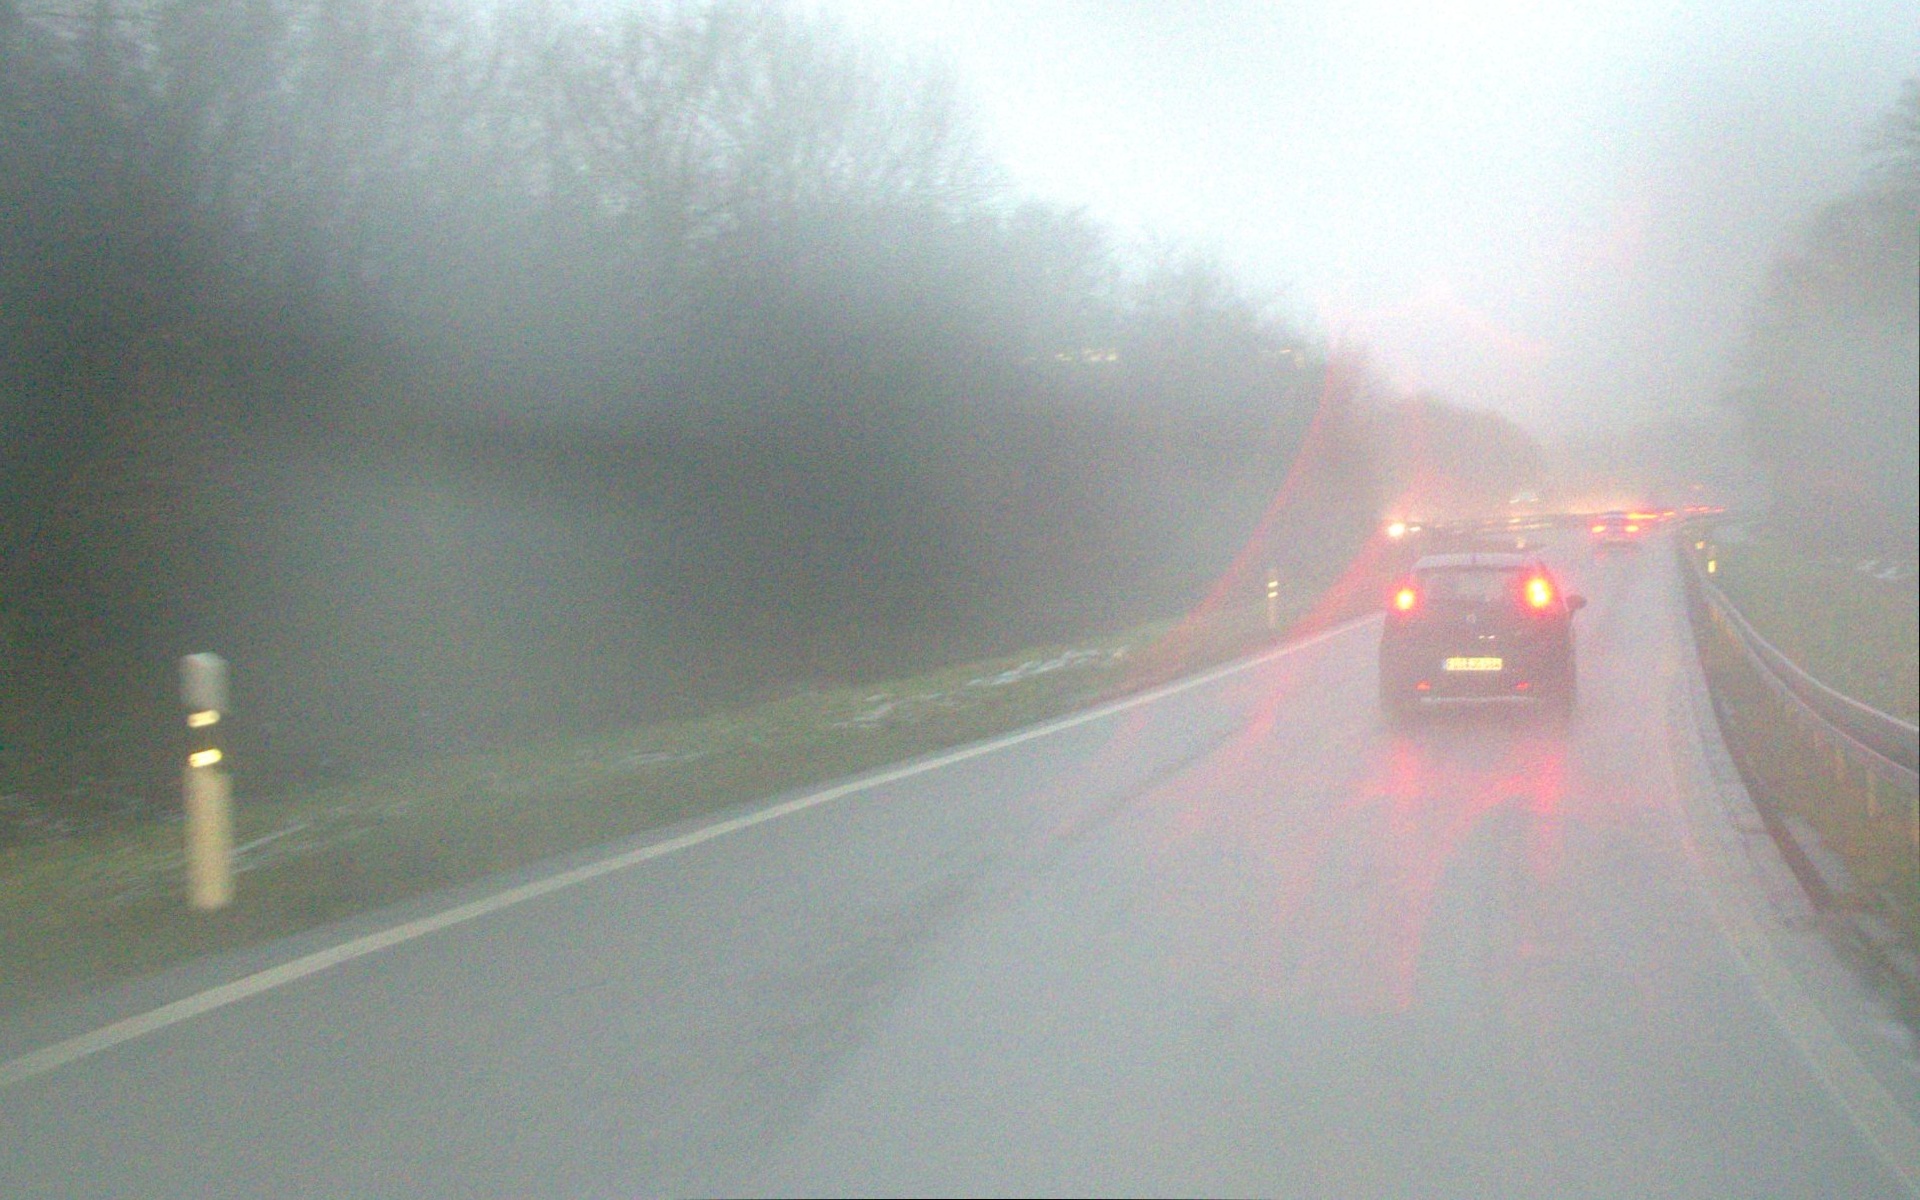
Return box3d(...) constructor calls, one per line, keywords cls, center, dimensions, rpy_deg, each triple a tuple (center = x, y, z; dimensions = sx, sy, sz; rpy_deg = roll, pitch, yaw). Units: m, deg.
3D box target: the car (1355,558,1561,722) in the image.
box3d(cls="car", center=(4.711, 0.338, 32.178), dimensions=(1.733, 1.424, 3.764), rpy_deg=(-1, 0, 11))
